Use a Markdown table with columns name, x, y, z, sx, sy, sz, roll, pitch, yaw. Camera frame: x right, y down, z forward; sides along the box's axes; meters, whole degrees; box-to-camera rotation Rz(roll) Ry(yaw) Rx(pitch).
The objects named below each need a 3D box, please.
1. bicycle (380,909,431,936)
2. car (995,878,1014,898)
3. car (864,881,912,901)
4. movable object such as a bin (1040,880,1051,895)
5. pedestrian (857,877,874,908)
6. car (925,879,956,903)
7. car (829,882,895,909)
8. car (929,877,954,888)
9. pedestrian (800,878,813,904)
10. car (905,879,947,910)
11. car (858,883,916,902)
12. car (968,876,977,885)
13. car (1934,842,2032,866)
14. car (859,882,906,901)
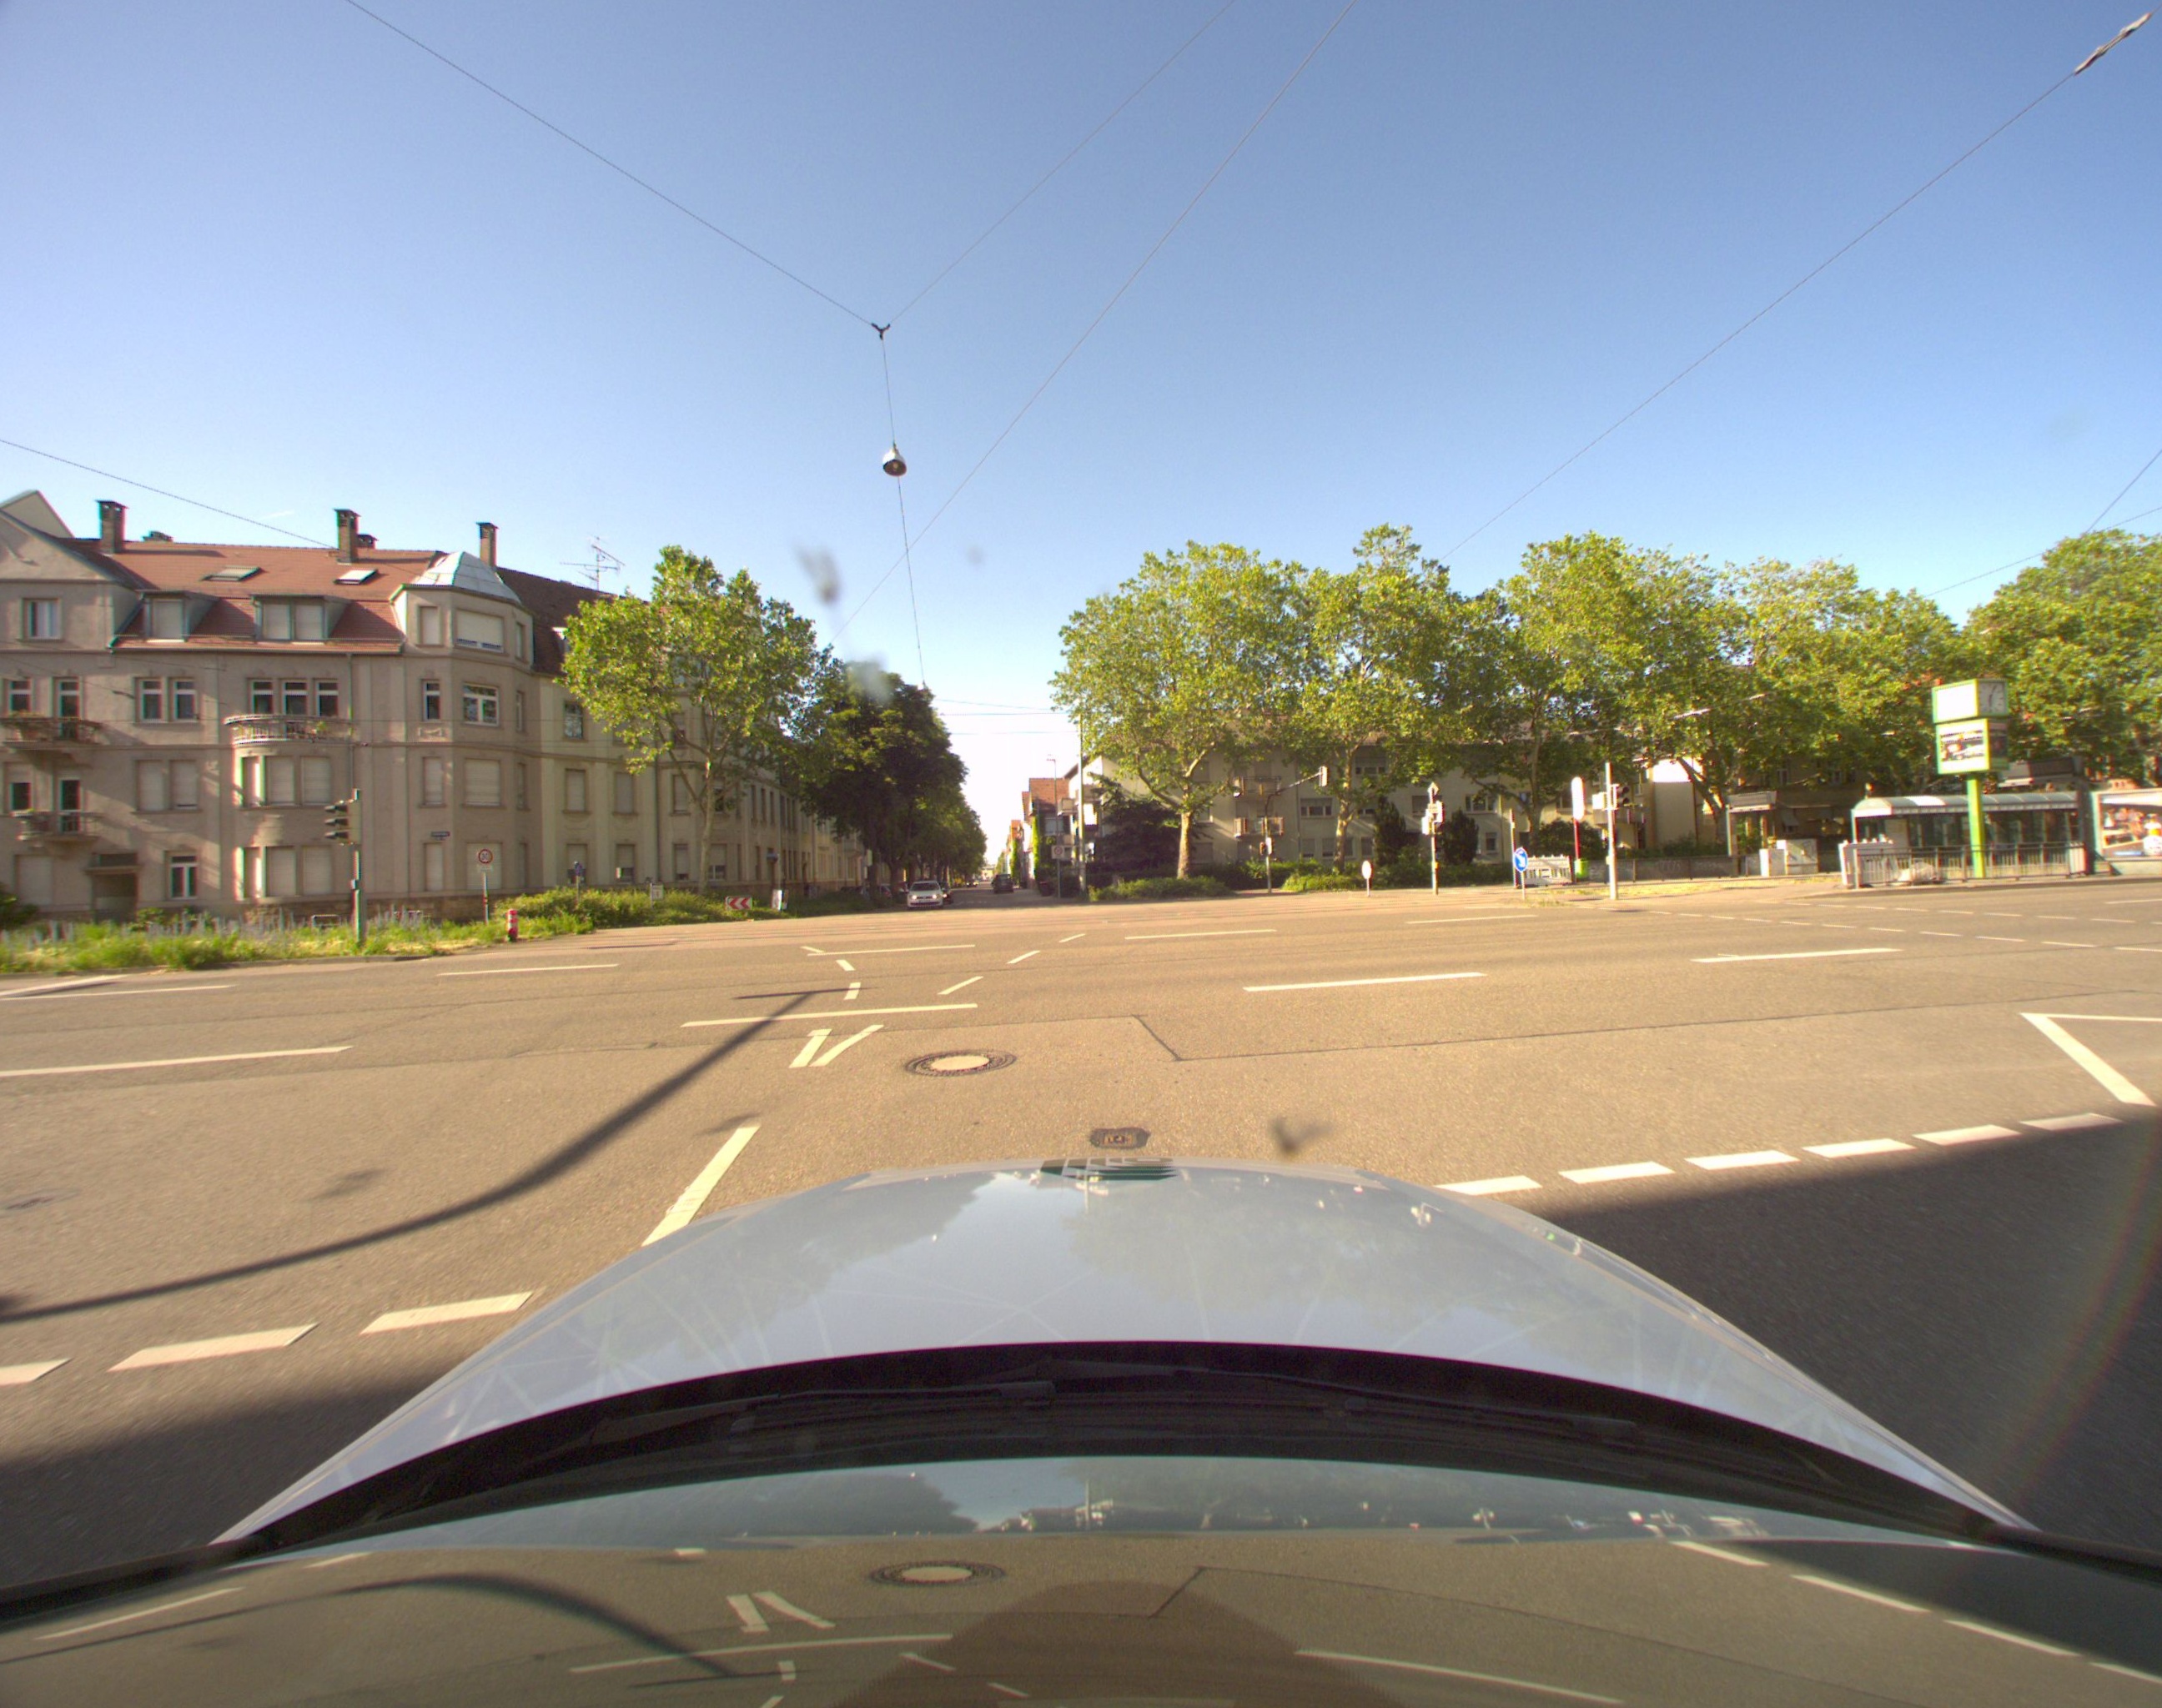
| name | x | y | z | sx | sy | sz | roll | pitch | yaw |
| --- | --- | --- | --- | --- | --- | --- | --- | --- | --- |
| bicycle | -25.764 | 2.611 | 31.084 | 1.434 | 0.905 | 0.495 | -2 | -2 | -11 |
| car | -7.880 | 3.504 | 83.753 | 1.863 | 1.916 | 4.771 | -1 | -1 | -6 |
| car | -17.376 | 3.341 | 73.448 | 3.982 | 1.508 | 1.719 | -3 | -2 | -6 |
| movable object such as a bin | -2.656 | 2.481 | 60.658 | 0.597 | 1.044 | 0.705 | -6 | -1 | -9 |
| pedestrian | -11.983 | 2.155 | 45.342 | 0.690 | 1.682 | 0.681 | -2 | -2 | 4 |
| car | -9.151 | 2.376 | 53.230 | 1.658 | 1.464 | 3.800 | -2 | -2 | -6 |
| car | -14.104 | 2.682 | 52.666 | 3.879 | 1.476 | 1.611 | -3 | -2 | -7 |
| car | -23.678 | 4.862 | 138.263 | 3.988 | 1.761 | 1.791 | 0 | -2 | -11 |
| pedestrian | -18.130 | 2.457 | 53.775 | 0.458 | 1.658 | 0.895 | -2 | -2 | 1 |
| car | -7.883 | 2.062 | 41.767 | 1.805 | 1.458 | 3.989 | -2 | -2 | -7 |
| car | -15.227 | 2.993 | 64.014 | 4.208 | 1.349 | 1.698 | -1 | -2 | -7 |
| car | -19.598 | 4.763 | 147.175 | 1.640 | 1.508 | 3.692 | -3 | -1 | -7 |
| car | 54.952 | 0.024 | 49.660 | 3.858 | 1.409 | 1.830 | 0 | -1 | 2 |
| car | -16.030 | 3.039 | 65.954 | 3.428 | 1.452 | 1.700 | -1 | -2 | -5 |
